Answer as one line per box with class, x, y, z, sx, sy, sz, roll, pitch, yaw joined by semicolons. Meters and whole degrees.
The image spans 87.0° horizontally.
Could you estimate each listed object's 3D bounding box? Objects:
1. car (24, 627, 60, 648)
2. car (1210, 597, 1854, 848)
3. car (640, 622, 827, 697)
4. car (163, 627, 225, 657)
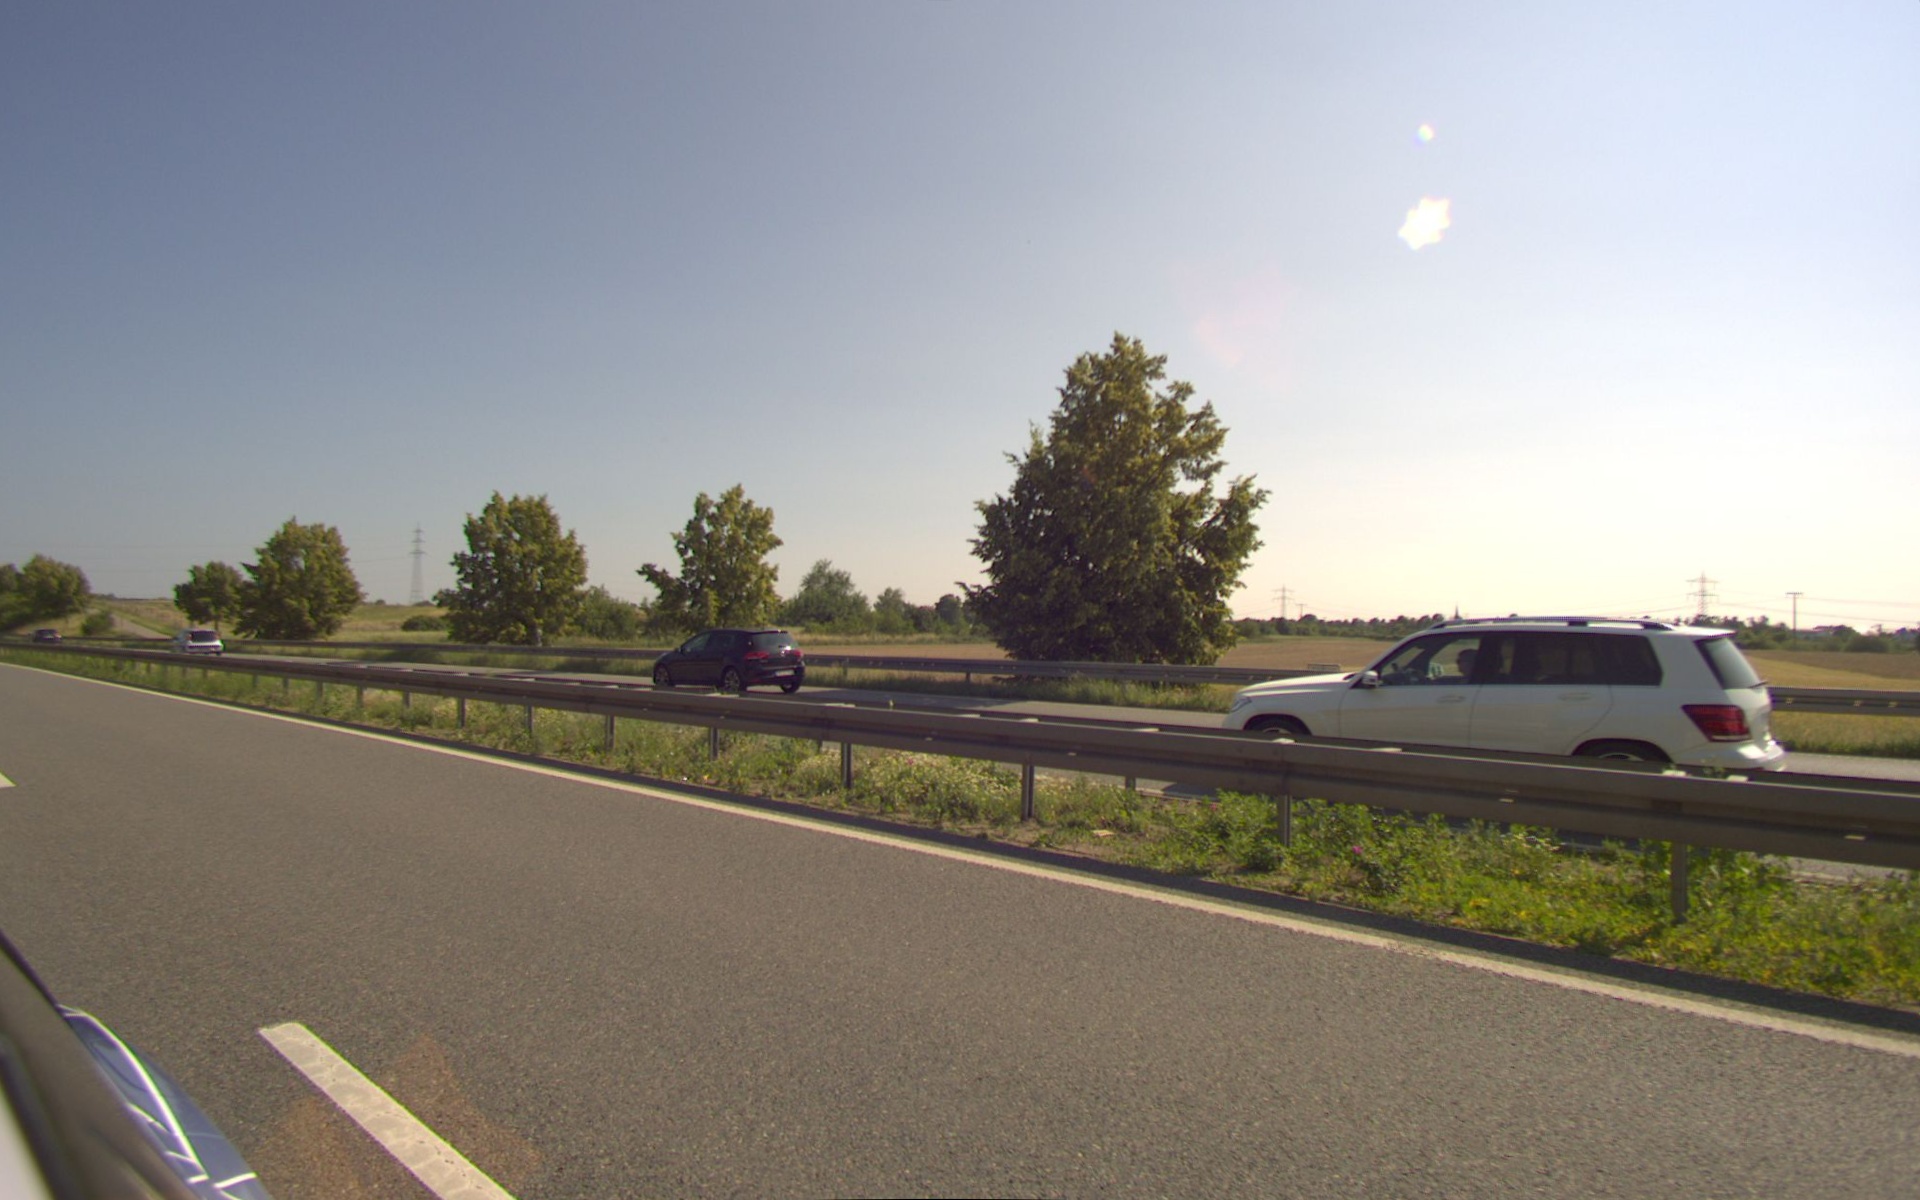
car;-71.540;2.921;78.870;4.243;1.553;1.672;-2;-1;42
car;4.815;0.843;9.045;4.720;1.677;1.820;-1;0;42
car;-5.129;1.261;22.578;4.457;1.483;1.820;-1;-1;41
car;-39.927;2.172;52.730;3.935;1.448;1.673;-1;-1;39
